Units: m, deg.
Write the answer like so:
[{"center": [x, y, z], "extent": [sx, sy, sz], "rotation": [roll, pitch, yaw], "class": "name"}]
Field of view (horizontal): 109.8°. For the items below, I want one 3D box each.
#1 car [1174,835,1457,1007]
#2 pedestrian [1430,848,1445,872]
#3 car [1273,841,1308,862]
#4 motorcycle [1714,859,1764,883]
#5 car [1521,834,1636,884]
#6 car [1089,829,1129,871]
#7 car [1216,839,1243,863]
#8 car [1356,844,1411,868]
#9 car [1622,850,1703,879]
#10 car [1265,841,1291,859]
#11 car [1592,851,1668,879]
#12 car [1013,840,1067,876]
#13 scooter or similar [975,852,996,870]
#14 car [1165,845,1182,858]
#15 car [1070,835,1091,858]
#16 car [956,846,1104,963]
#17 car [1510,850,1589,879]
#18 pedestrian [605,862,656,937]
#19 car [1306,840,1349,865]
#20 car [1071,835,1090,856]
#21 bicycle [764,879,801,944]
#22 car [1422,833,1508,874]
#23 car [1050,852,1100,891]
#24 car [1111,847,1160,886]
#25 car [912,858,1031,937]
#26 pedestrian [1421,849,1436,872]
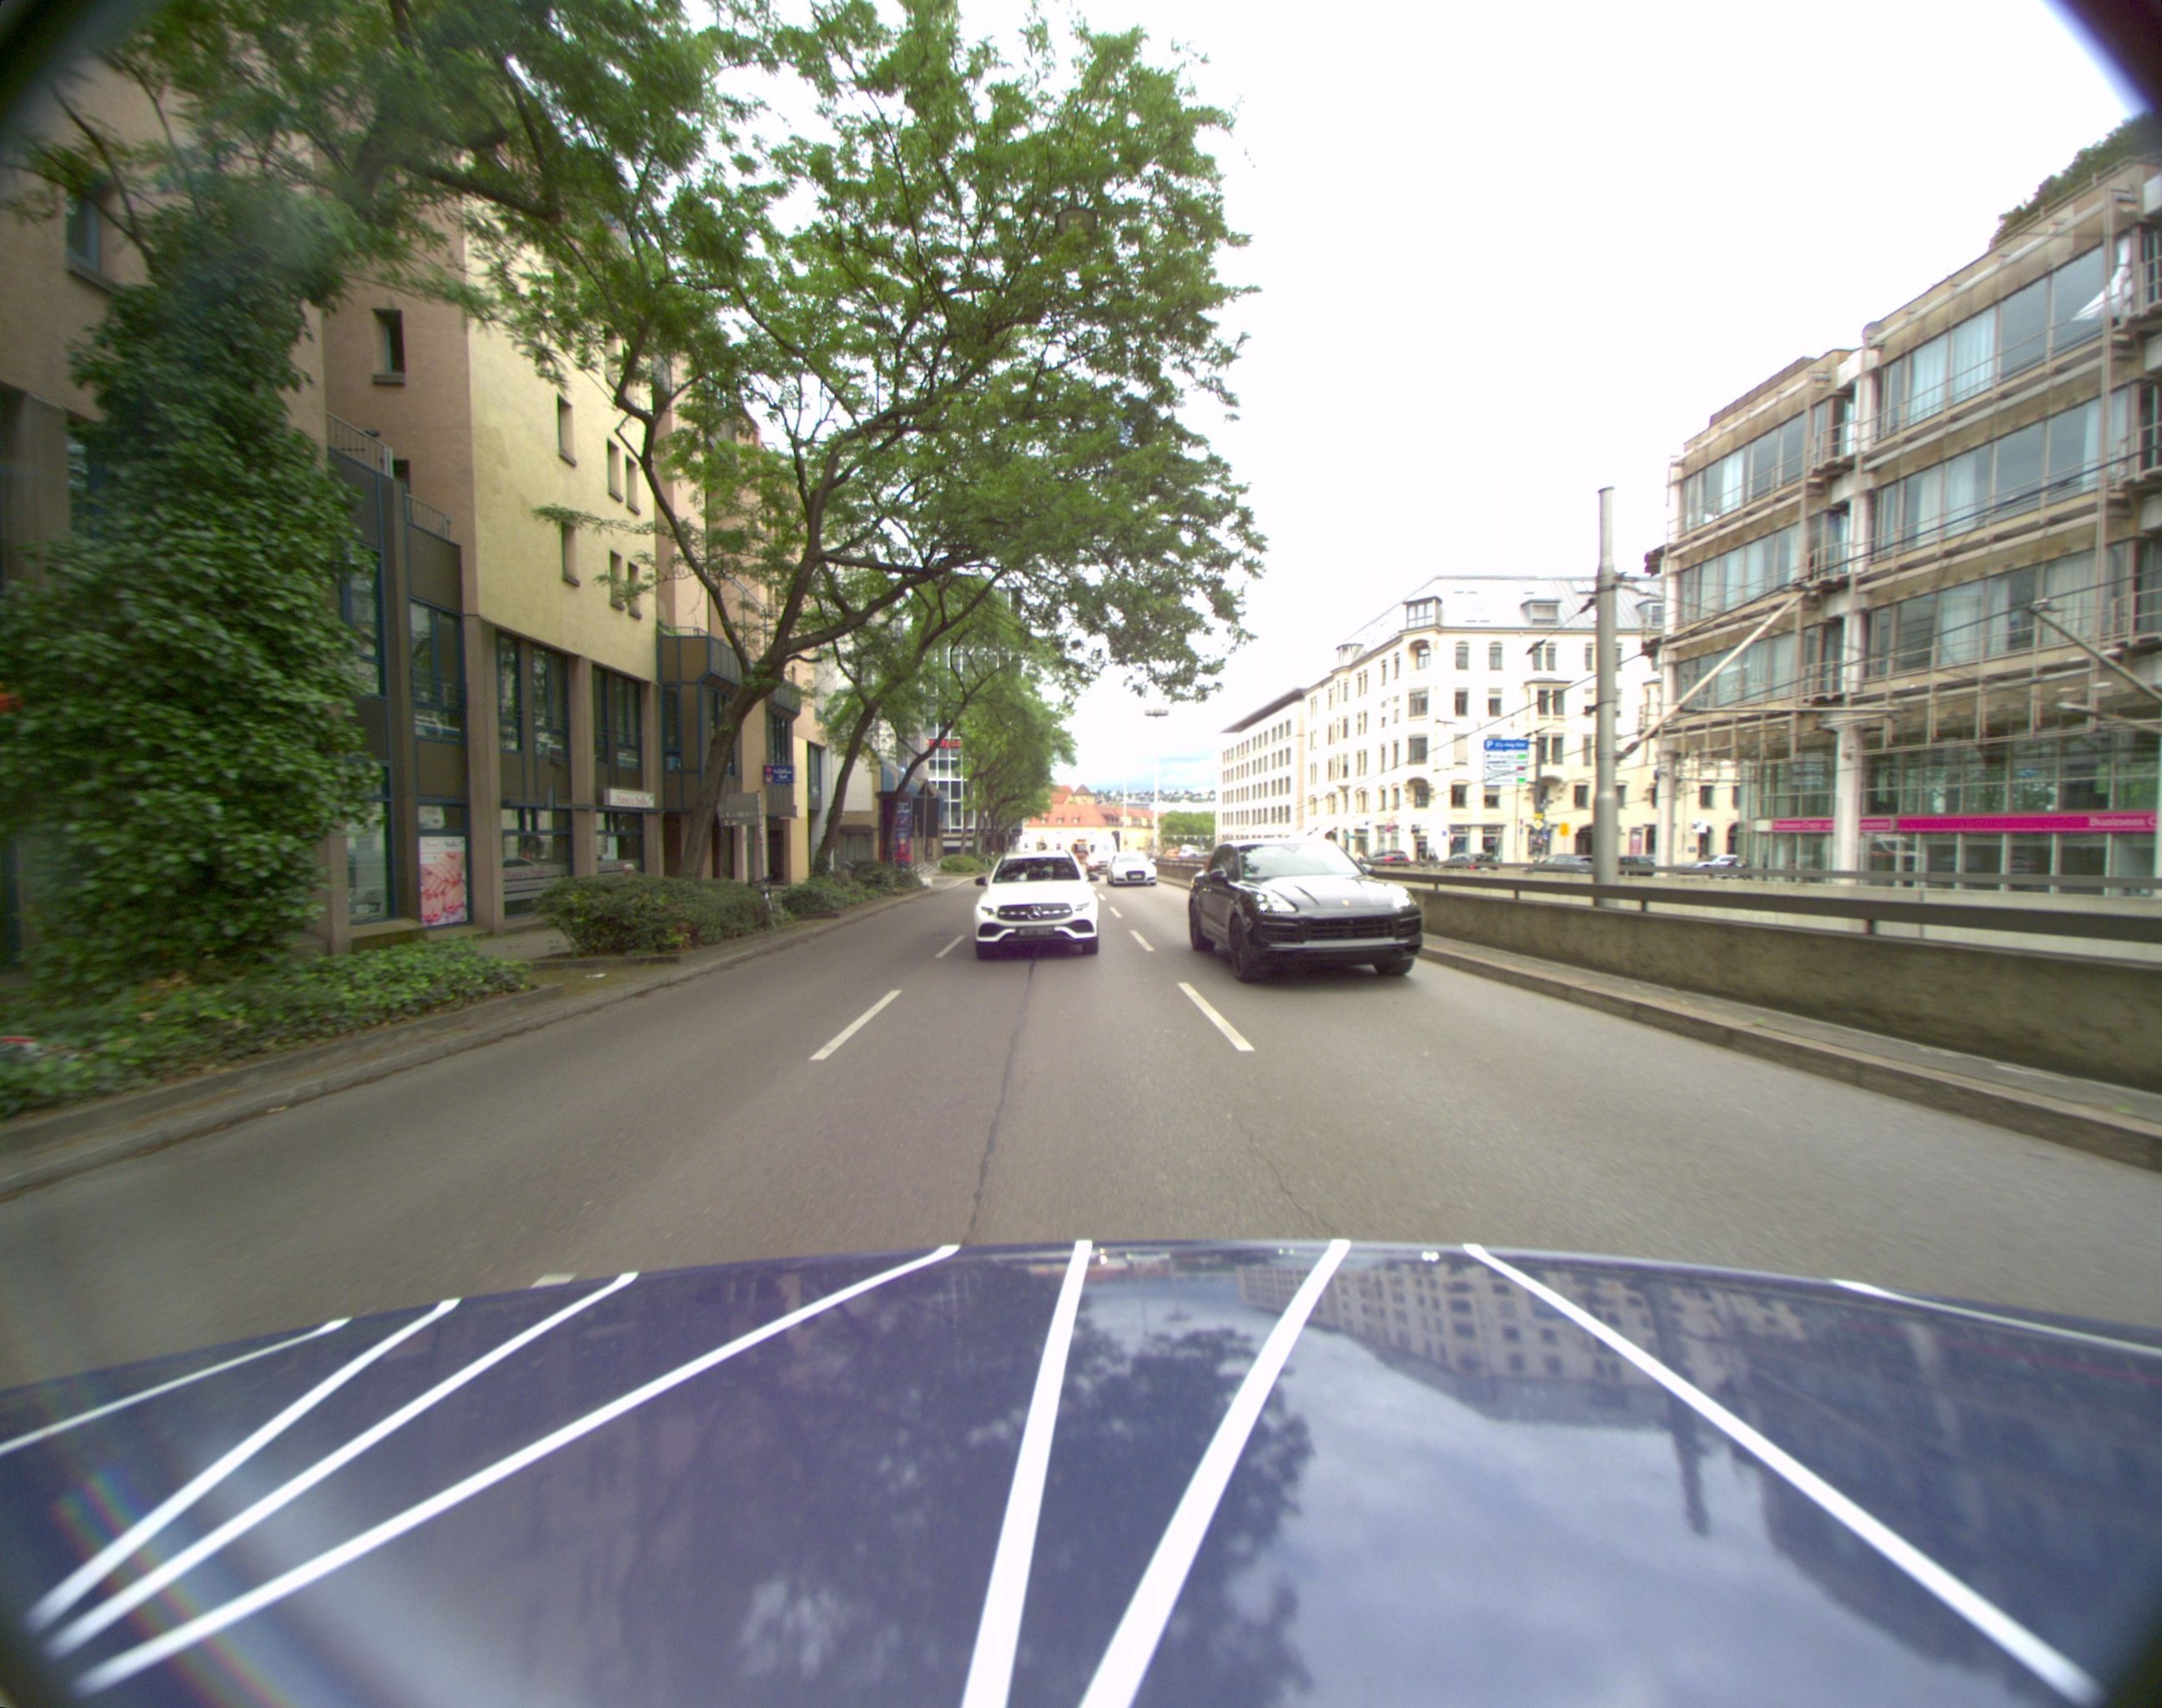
[{"center": [2.697, 0.671, 10.333], "extent": [2.088, 1.665, 5.351], "rotation": [-2, 0, -1], "class": "car"}, {"center": [25.938, 0.440, 55.327], "extent": [0.712, 1.701, 0.687], "rotation": [-1, 0, -12], "class": "pedestrian"}, {"center": [20.524, -0.266, 74.724], "extent": [1.999, 2.002, 4.789], "rotation": [-2, 1, -1], "class": "car"}, {"center": [31.058, 0.785, 35.871], "extent": [0.645, 1.069, 1.670], "rotation": [-2, 1, -21], "class": "motorcycle"}, {"center": [21.056, 0.145, 32.429], "extent": [1.999, 1.904, 4.377], "rotation": [-2, 2, -1], "class": "car"}, {"center": [1.969, -0.295, 51.973], "extent": [2.293, 2.723, 4.755], "rotation": [-2, 1, 6], "class": "car"}, {"center": [19.845, -0.471, 101.520], "extent": [2.370, 3.043, 5.468], "rotation": [-2, 1, -1], "class": "car"}, {"center": [20.603, 0.108, 51.946], "extent": [1.818, 1.551, 4.641], "rotation": [0, 1, -2], "class": "car"}, {"center": [34.264, 0.595, 44.842], "extent": [3.599, 1.652, 1.649], "rotation": [0, 1, -4], "class": "car"}, {"center": [23.551, -0.484, 90.873], "extent": [1.999, 2.002, 3.999], "rotation": [0, 1, -1], "class": "car"}, {"center": [33.985, 0.666, 47.061], "extent": [3.599, 1.652, 1.649], "rotation": [0, 1, -4], "class": "car"}, {"center": [-2.554, 0.210, 49.223], "extent": [2.502, 2.145, 5.729], "rotation": [-2, 1, 6], "class": "car"}, {"center": [-7.930, 0.536, 63.035], "extent": [1.536, 1.426, 0.686], "rotation": [-2, 2, -32], "class": "scooter or similar"}, {"center": [15.404, -0.485, 127.382], "extent": [2.115, 2.002, 4.789], "rotation": [-2, 1, -1], "class": "car"}, {"center": [-0.043, -0.953, 98.498], "extent": [2.503, 2.793, 5.727], "rotation": [-2, 1, 1], "class": "car"}, {"center": [-0.750, 0.701, 12.790], "extent": [2.060, 1.599, 3.926], "rotation": [-2, 1, -1], "class": "car"}, {"center": [27.456, 0.617, 44.601], "extent": [3.648, 1.652, 1.649], "rotation": [0, 1, -4], "class": "car"}, {"center": [-10.446, 1.034, 17.634], "extent": [0.711, 1.701, 0.688], "rotation": [-1, 0, 5], "class": "pedestrian"}, {"center": [20.453, -0.154, 63.239], "extent": [1.999, 2.002, 4.789], "rotation": [-2, 1, -1], "class": "car"}, {"center": [-0.054, -1.251, 106.081], "extent": [2.503, 2.793, 5.727], "rotation": [-2, 1, 1], "class": "car"}, {"center": [-6.077, 1.136, 15.531], "extent": [0.362, 1.194, 1.569], "rotation": [0, 1, -9], "class": "bicycle"}, {"center": [20.765, -0.078, 41.320], "extent": [1.999, 1.952, 4.788], "rotation": [-4, 1, -2], "class": "car"}, {"center": [-0.276, 0.672, 31.556], "extent": [1.890, 1.378, 4.609], "rotation": [-2, 1, -1], "class": "car"}, {"center": [2.358, 0.484, 33.282], "extent": [1.949, 1.521, 4.000], "rotation": [-2, 1, 3], "class": "car"}, {"center": [-2.421, 0.925, 17.876], "extent": [1.949, 1.521, 4.000], "rotation": [-2, 1, 3], "class": "car"}, {"center": [25.117, 0.470, 54.943], "extent": [0.712, 1.701, 0.687], "rotation": [-1, 0, -12], "class": "pedestrian"}]
